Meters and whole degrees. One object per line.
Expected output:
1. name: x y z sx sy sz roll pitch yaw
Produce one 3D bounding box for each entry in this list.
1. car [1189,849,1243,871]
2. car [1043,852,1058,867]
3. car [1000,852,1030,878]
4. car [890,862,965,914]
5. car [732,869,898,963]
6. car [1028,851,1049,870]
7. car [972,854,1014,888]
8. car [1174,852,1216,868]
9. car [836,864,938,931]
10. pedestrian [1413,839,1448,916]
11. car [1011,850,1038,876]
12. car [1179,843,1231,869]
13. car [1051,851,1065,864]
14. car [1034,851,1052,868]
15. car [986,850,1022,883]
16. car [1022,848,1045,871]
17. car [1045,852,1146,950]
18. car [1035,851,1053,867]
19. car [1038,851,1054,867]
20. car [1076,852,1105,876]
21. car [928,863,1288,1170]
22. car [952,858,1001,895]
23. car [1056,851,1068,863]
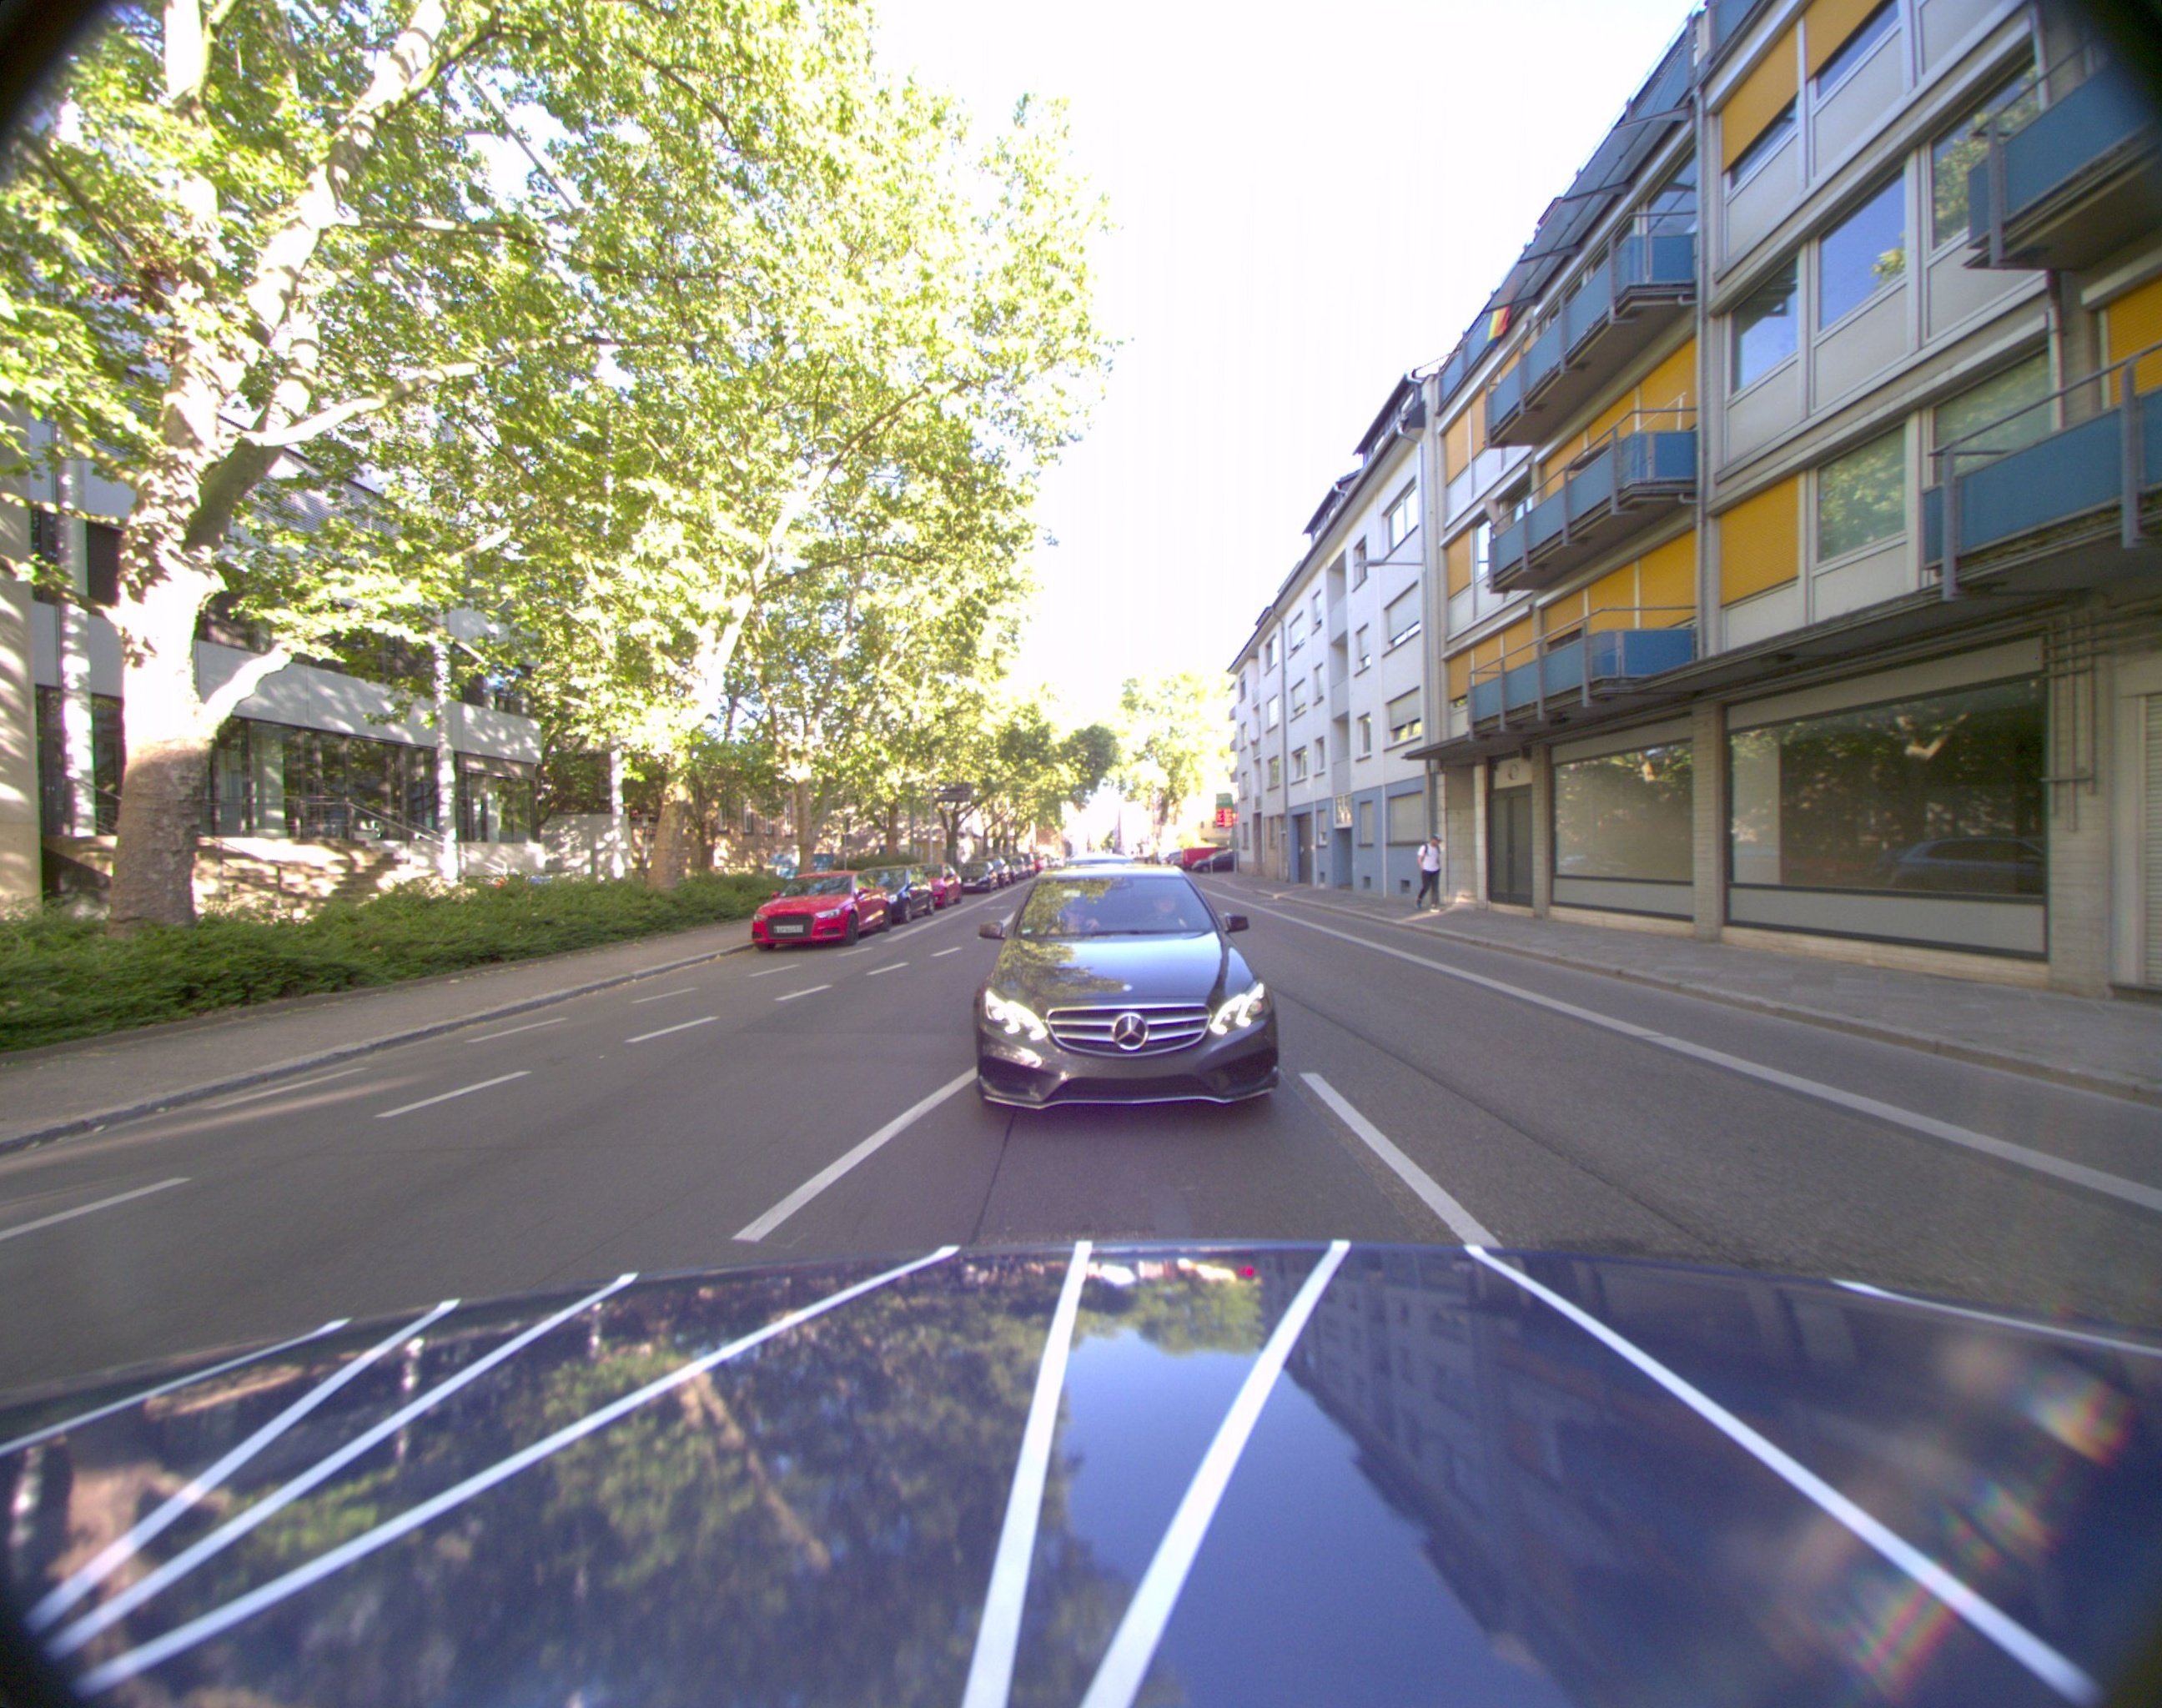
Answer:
1. car: 10.005 0.449 56.361 3.670 1.403 1.636 -3 1 0
2. car: -3.750 0.676 93.740 1.635 1.713 3.672 -3 0 1
3. car: -4.522 0.751 52.363 1.635 1.644 3.845 -3 0 1
4. car: -5.017 1.063 25.310 1.635 1.455 3.740 -3 0 1
5. car: -5.161 1.130 15.401 1.804 1.455 4.125 -3 0 1
6. car: -4.043 0.612 72.949 1.635 1.713 3.672 -3 0 1
7. car: -4.570 0.853 39.788 1.635 1.578 3.845 -3 0 1
8. car: 9.639 0.499 64.321 3.325 1.241 1.295 -3 1 0
9. car: -5.031 1.078 20.168 1.635 1.455 3.740 -3 0 1
10. pedestrian: 8.015 0.534 17.424 0.569 1.716 0.343 -3 1 1
11. car: -4.185 0.671 57.194 1.635 1.799 3.672 -3 0 1
12. car: 10.056 0.133 61.670 3.928 1.912 1.636 -3 1 0
13. car: -3.151 0.513 104.448 1.635 1.713 3.672 -3 0 1
14. car: -3.996 0.546 79.938 1.635 1.713 3.672 -3 0 1
15. car: -4.618 0.725 45.887 1.635 1.795 3.845 -3 0 1
16. car: -4.221 0.452 68.027 1.635 1.878 3.672 -3 0 1
17. car: 0.279 0.825 15.386 1.680 1.622 4.125 -3 0 1
18. car: -4.029 0.532 83.731 1.635 1.713 3.672 -3 0 1
19. car: -4.041 0.588 87.849 1.635 1.713 3.672 -3 0 1
20. car: 0.627 0.648 51.956 1.853 1.455 4.098 -3 0 1
21. car: 0.167 0.874 6.018 1.804 1.455 4.125 -3 0 1
22. car: -4.730 0.989 34.799 1.635 1.455 3.740 -3 0 1
23. car: -2.759 0.417 111.200 1.635 1.713 3.672 -3 0 1
